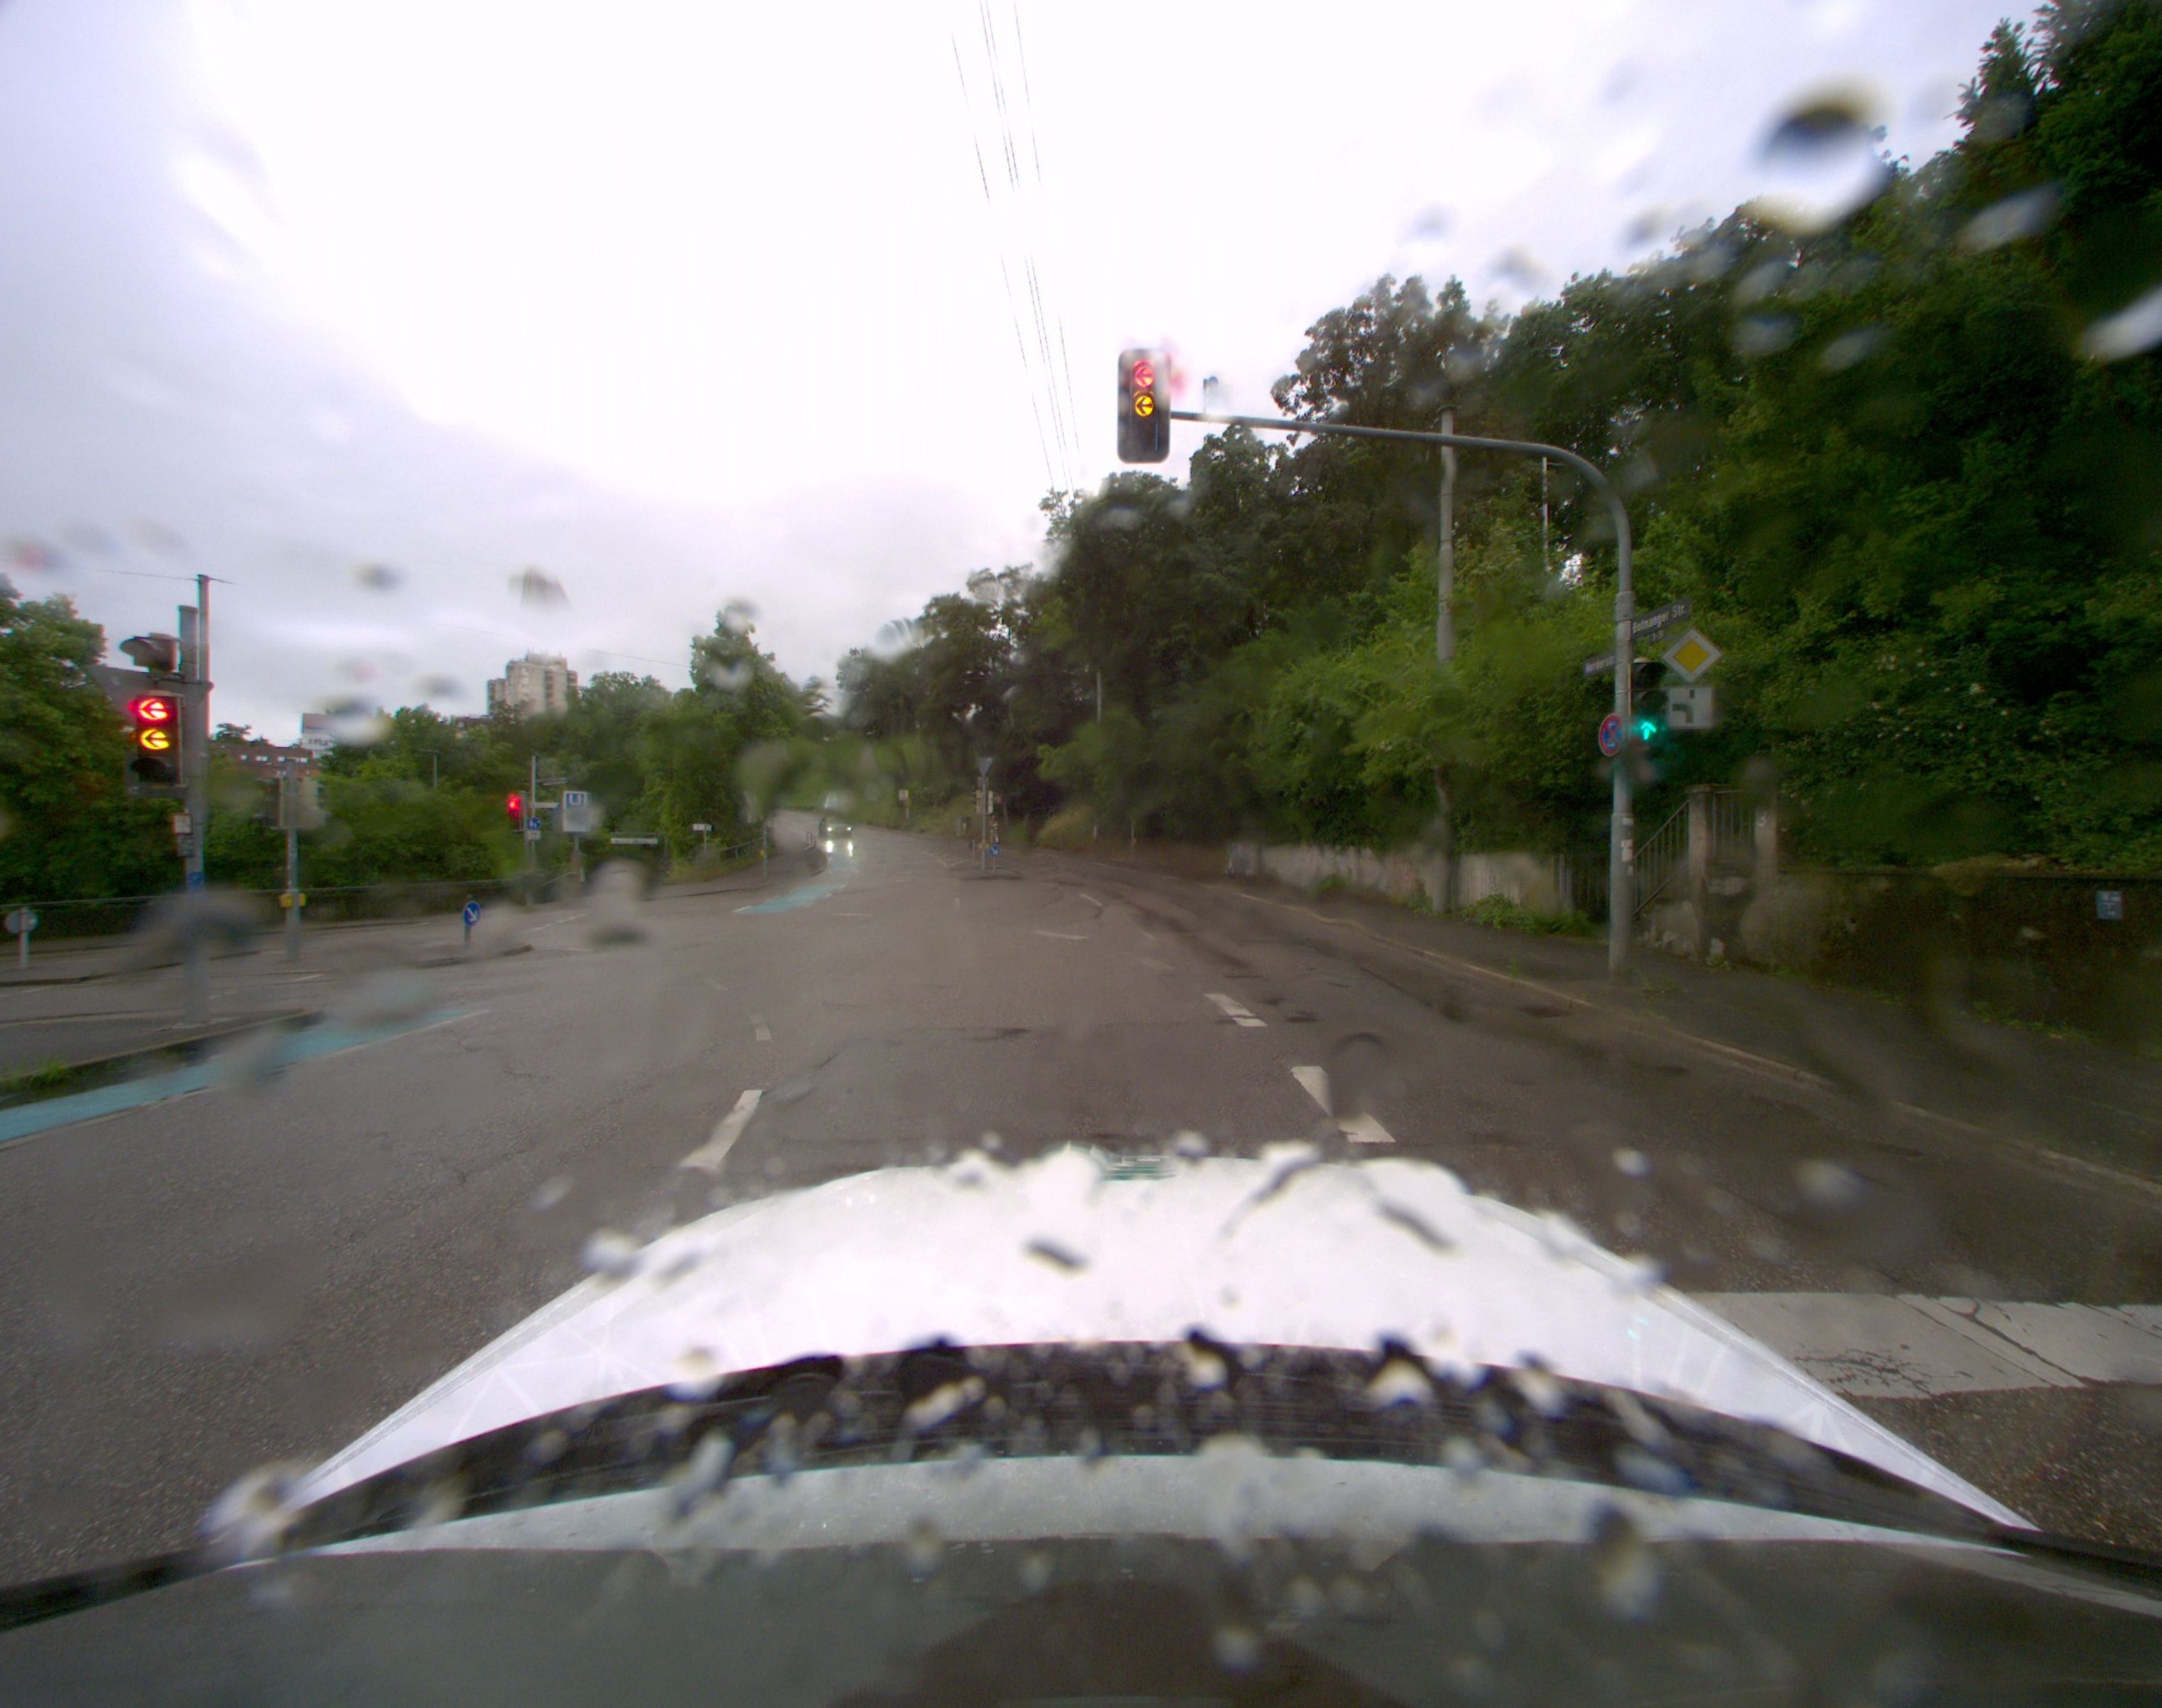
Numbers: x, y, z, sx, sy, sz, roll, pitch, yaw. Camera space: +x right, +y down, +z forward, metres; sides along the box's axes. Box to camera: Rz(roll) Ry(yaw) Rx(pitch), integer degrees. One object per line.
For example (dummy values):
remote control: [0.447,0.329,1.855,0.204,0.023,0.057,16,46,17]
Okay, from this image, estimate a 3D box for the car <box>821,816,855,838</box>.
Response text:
car: [-18.029,-2.015,60.289,1.964,1.511,4.372,0,3,-22]

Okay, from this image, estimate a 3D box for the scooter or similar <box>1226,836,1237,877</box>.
scooter or similar: [4.894,0.069,26.521,0.320,1.279,0.754,-1,2,10]

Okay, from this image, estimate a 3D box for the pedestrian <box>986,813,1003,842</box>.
pedestrian: [-5.359,-1.615,50.469,0.882,1.736,0.861,0,-1,-15]
